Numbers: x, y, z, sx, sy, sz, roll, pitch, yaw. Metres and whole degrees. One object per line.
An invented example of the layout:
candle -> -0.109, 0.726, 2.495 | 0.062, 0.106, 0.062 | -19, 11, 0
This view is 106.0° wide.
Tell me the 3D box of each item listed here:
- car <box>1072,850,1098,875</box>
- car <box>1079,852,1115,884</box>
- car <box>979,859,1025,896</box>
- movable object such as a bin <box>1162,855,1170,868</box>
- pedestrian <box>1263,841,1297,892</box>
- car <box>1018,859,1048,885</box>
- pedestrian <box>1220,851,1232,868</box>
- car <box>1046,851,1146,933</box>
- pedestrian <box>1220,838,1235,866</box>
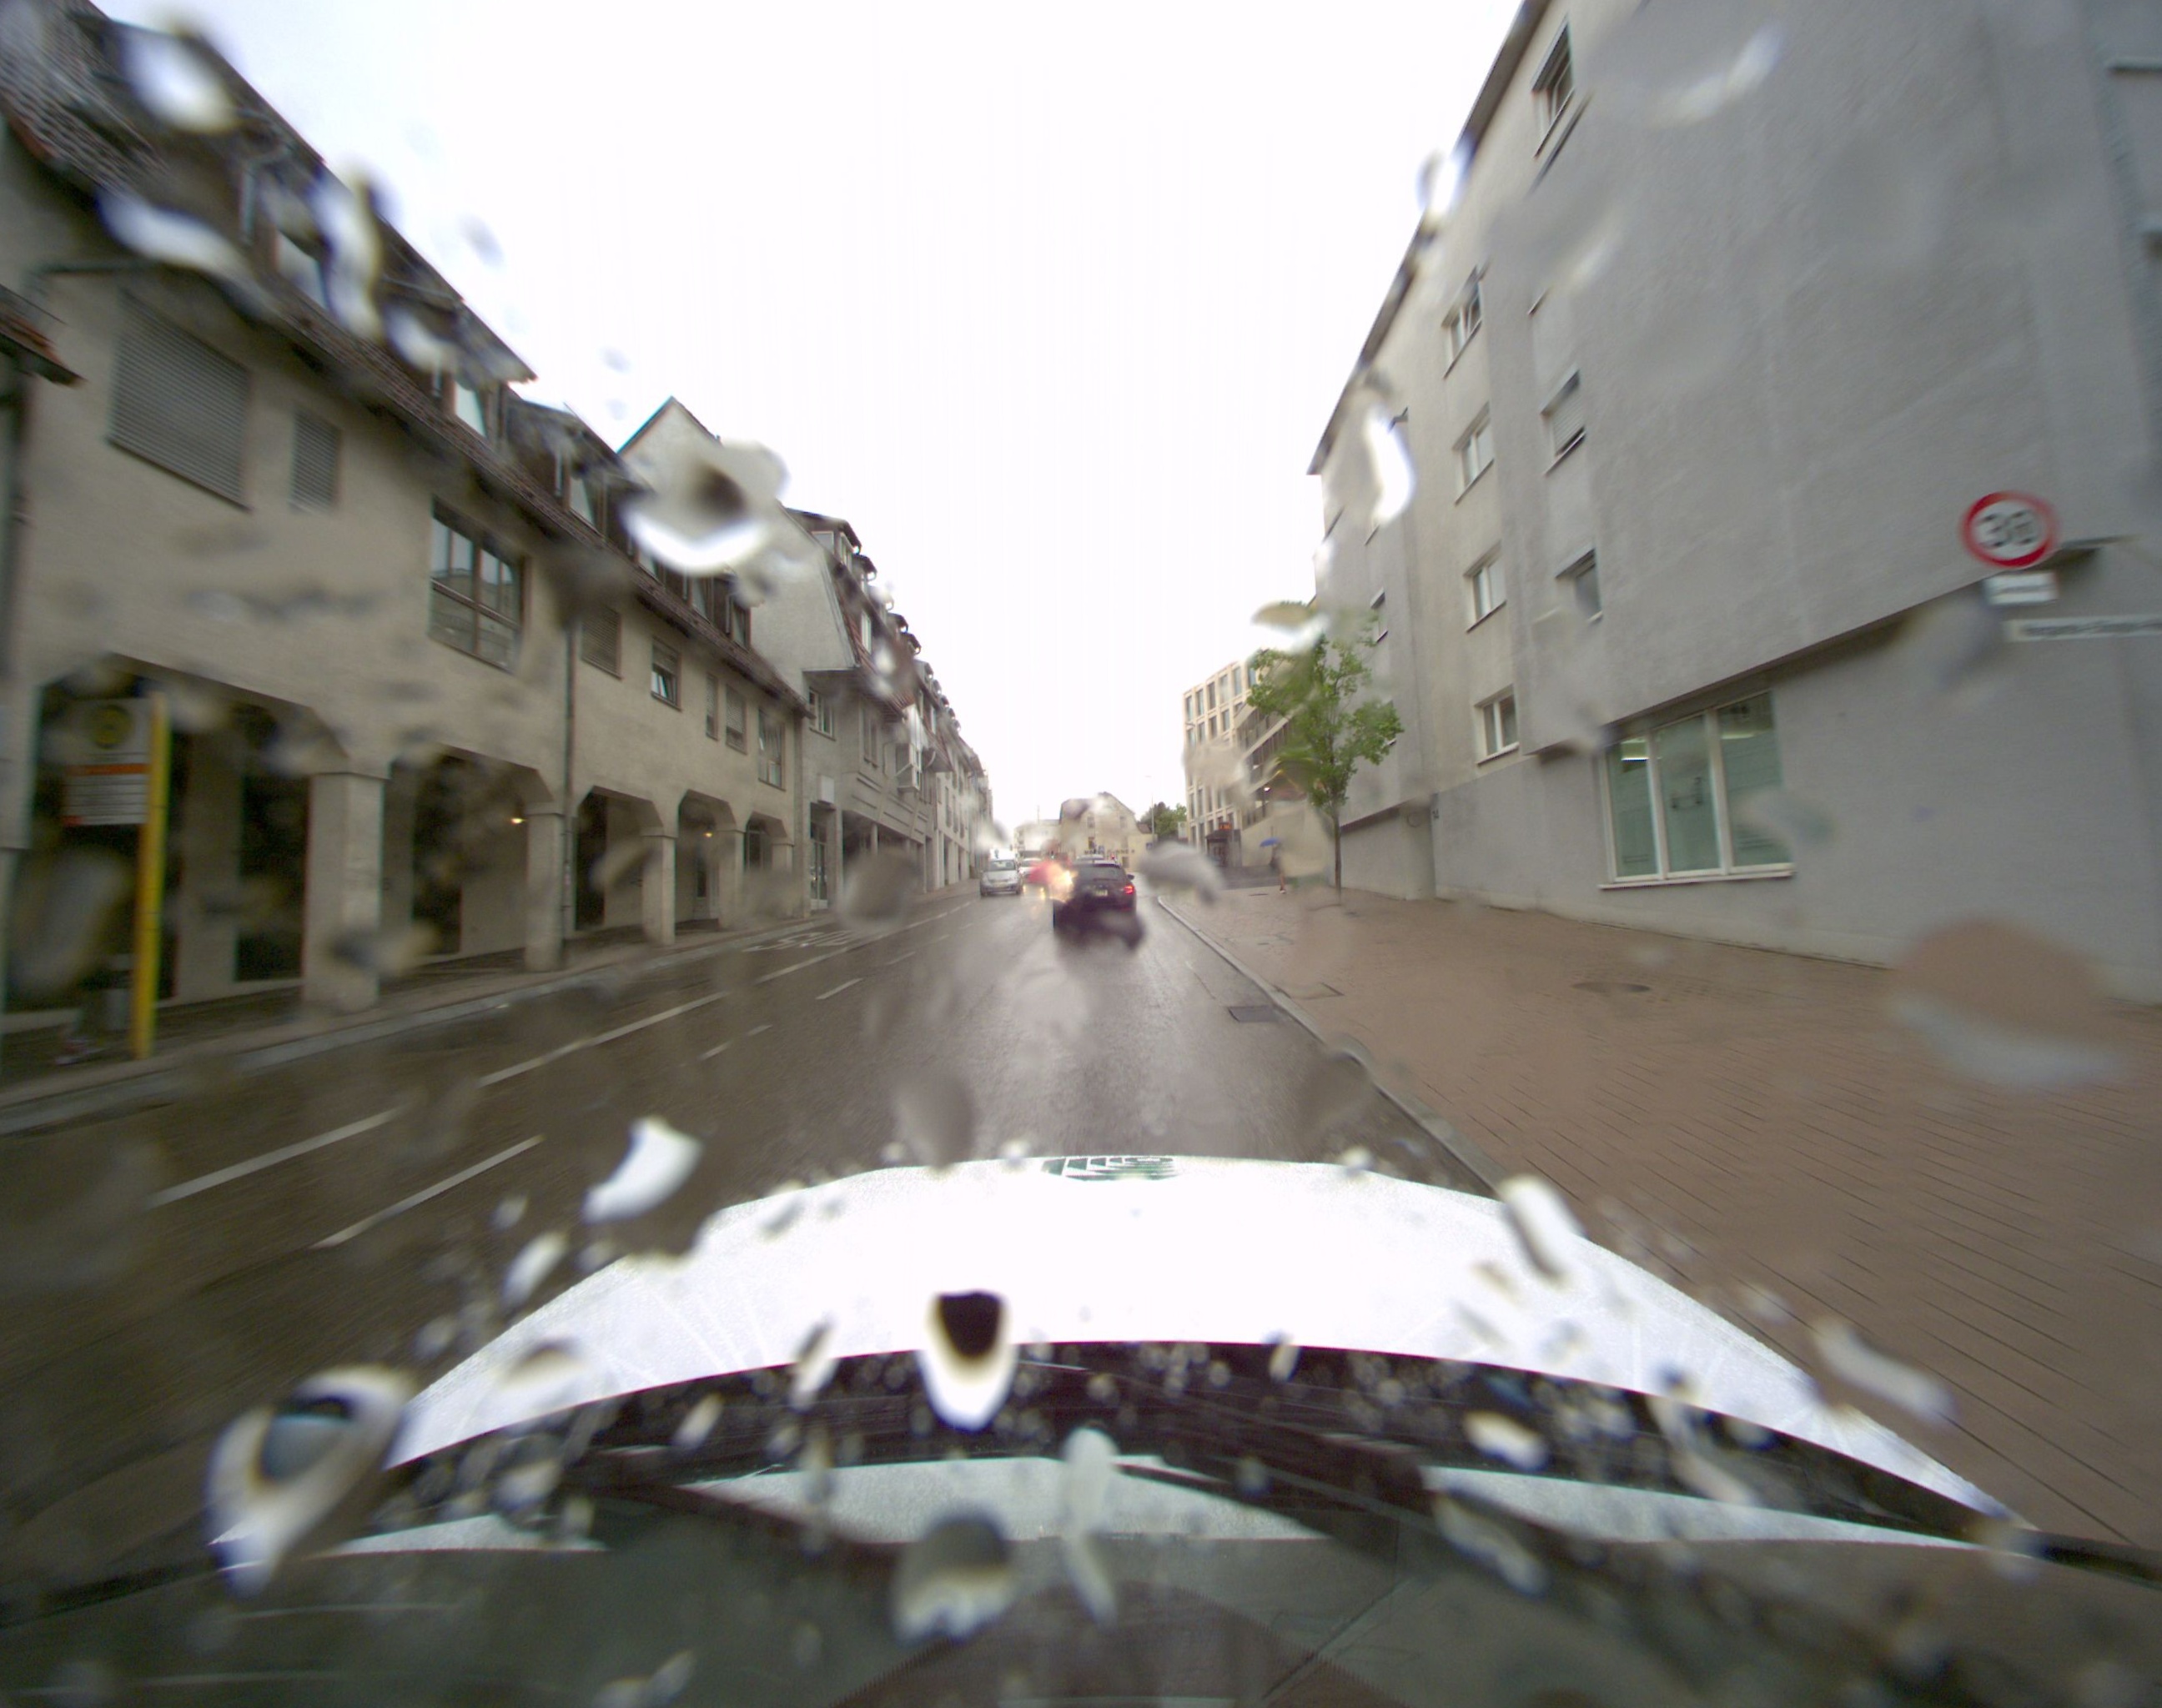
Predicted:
car -> 0.291, 0.583, 57.017 | 1.675, 1.560, 4.000 | -3, 0, 1
car -> 0.795, 0.710, 42.457 | 1.672, 1.510, 3.586 | -2, 0, -2
car -> -3.497, 1.029, 36.701 | 1.672, 1.510, 3.588 | -3, 0, 0
movable object such as a bin -> 7.208, 0.646, 69.315 | 0.593, 1.062, 0.579 | -3, -1, 0
pedestrian -> 6.302, 0.395, 25.834 | 0.732, 1.542, 1.039 | -6, -1, 4
car -> -2.977, 1.109, 51.354 | 1.672, 1.510, 3.586 | -2, 0, -2
pedestrian -> 10.390, 0.392, 58.528 | 0.669, 1.162, 0.635 | -4, -1, 1
car -> 0.337, 0.769, 18.580 | 1.938, 1.567, 4.418 | -2, 0, 1
pedestrian -> 10.257, -0.137, 57.089 | 0.779, 1.940, 1.021 | -4, -1, 1
